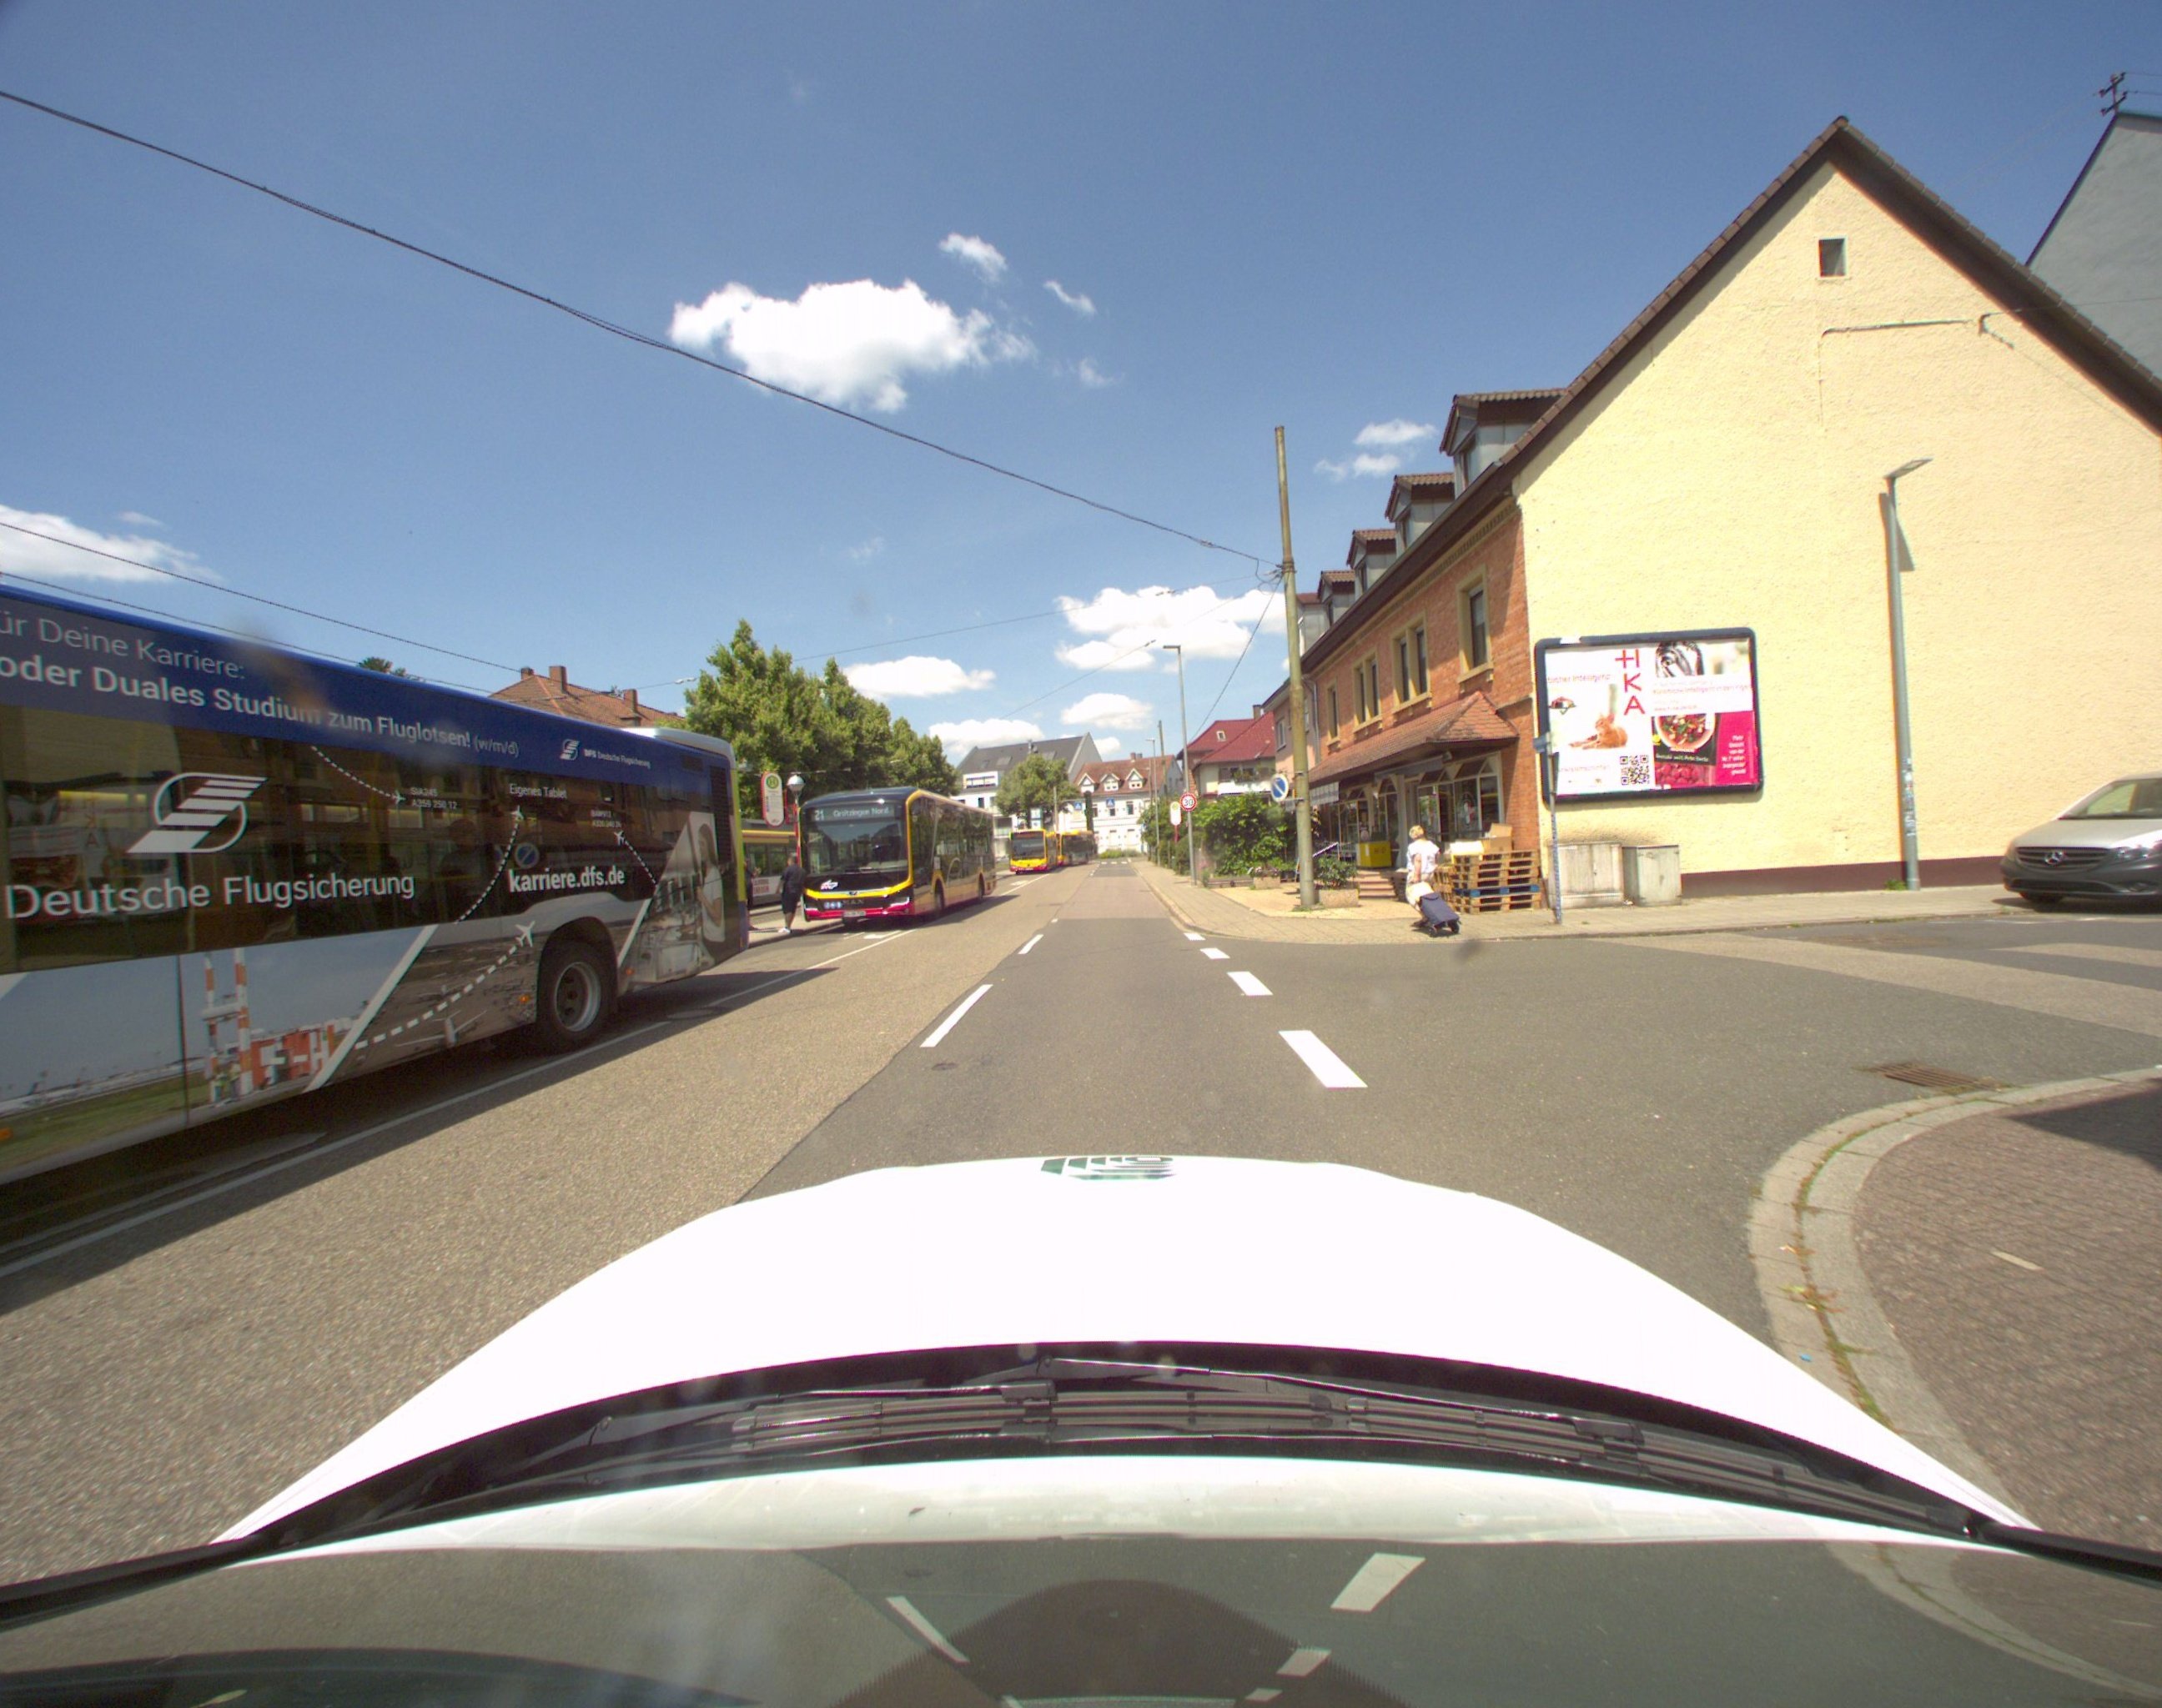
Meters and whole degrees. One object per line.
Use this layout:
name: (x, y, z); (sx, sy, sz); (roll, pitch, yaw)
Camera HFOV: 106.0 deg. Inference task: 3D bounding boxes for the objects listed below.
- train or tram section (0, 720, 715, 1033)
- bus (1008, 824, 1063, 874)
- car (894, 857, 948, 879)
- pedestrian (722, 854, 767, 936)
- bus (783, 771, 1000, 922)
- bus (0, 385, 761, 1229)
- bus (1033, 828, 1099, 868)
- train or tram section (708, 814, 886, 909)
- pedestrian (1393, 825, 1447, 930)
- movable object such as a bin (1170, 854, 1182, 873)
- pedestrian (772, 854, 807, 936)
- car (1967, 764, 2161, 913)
train or tram section: (-13.703, 0.290, 17.653); (2.951, 3.642, 17.362); (-1, 0, 2)
bus: (-3.129, -0.328, 60.111); (2.896, 3.248, 12.124); (-1, 0, 2)
car: (-10.418, 0.902, 53.019); (3.287, 1.373, 1.460); (-1, -1, -18)
pedestrian: (-7.547, 0.898, 18.270); (0.787, 1.777, 0.567); (0, -2, -40)
bus: (-4.757, -0.066, 23.863); (2.886, 3.247, 12.204); (-1, -1, 3)
bus: (-5.793, -0.155, 4.483); (2.897, 3.427, 12.044); (-1, -1, 2)
bus: (-1.151, -0.629, 73.537); (2.760, 3.208, 12.354); (-1, 1, 14)
train or tram section: (-12.759, 0.302, 38.782); (2.951, 3.642, 14.002); (-1, 0, 2)
pedestrian: (5.522, 0.374, 13.284); (0.698, 1.641, 0.664); (-4, 1, 23)
movable object such as a bin: (4.717, 0.475, 40.647); (0.405, 0.907, 0.729); (-6, -1, -1)
pedestrian: (-6.389, 0.884, 17.847); (0.597, 1.777, 0.381); (0, -2, -40)
car: (15.838, -0.311, 11.305); (5.040, 1.861, 1.907); (-3, -1, -2)
